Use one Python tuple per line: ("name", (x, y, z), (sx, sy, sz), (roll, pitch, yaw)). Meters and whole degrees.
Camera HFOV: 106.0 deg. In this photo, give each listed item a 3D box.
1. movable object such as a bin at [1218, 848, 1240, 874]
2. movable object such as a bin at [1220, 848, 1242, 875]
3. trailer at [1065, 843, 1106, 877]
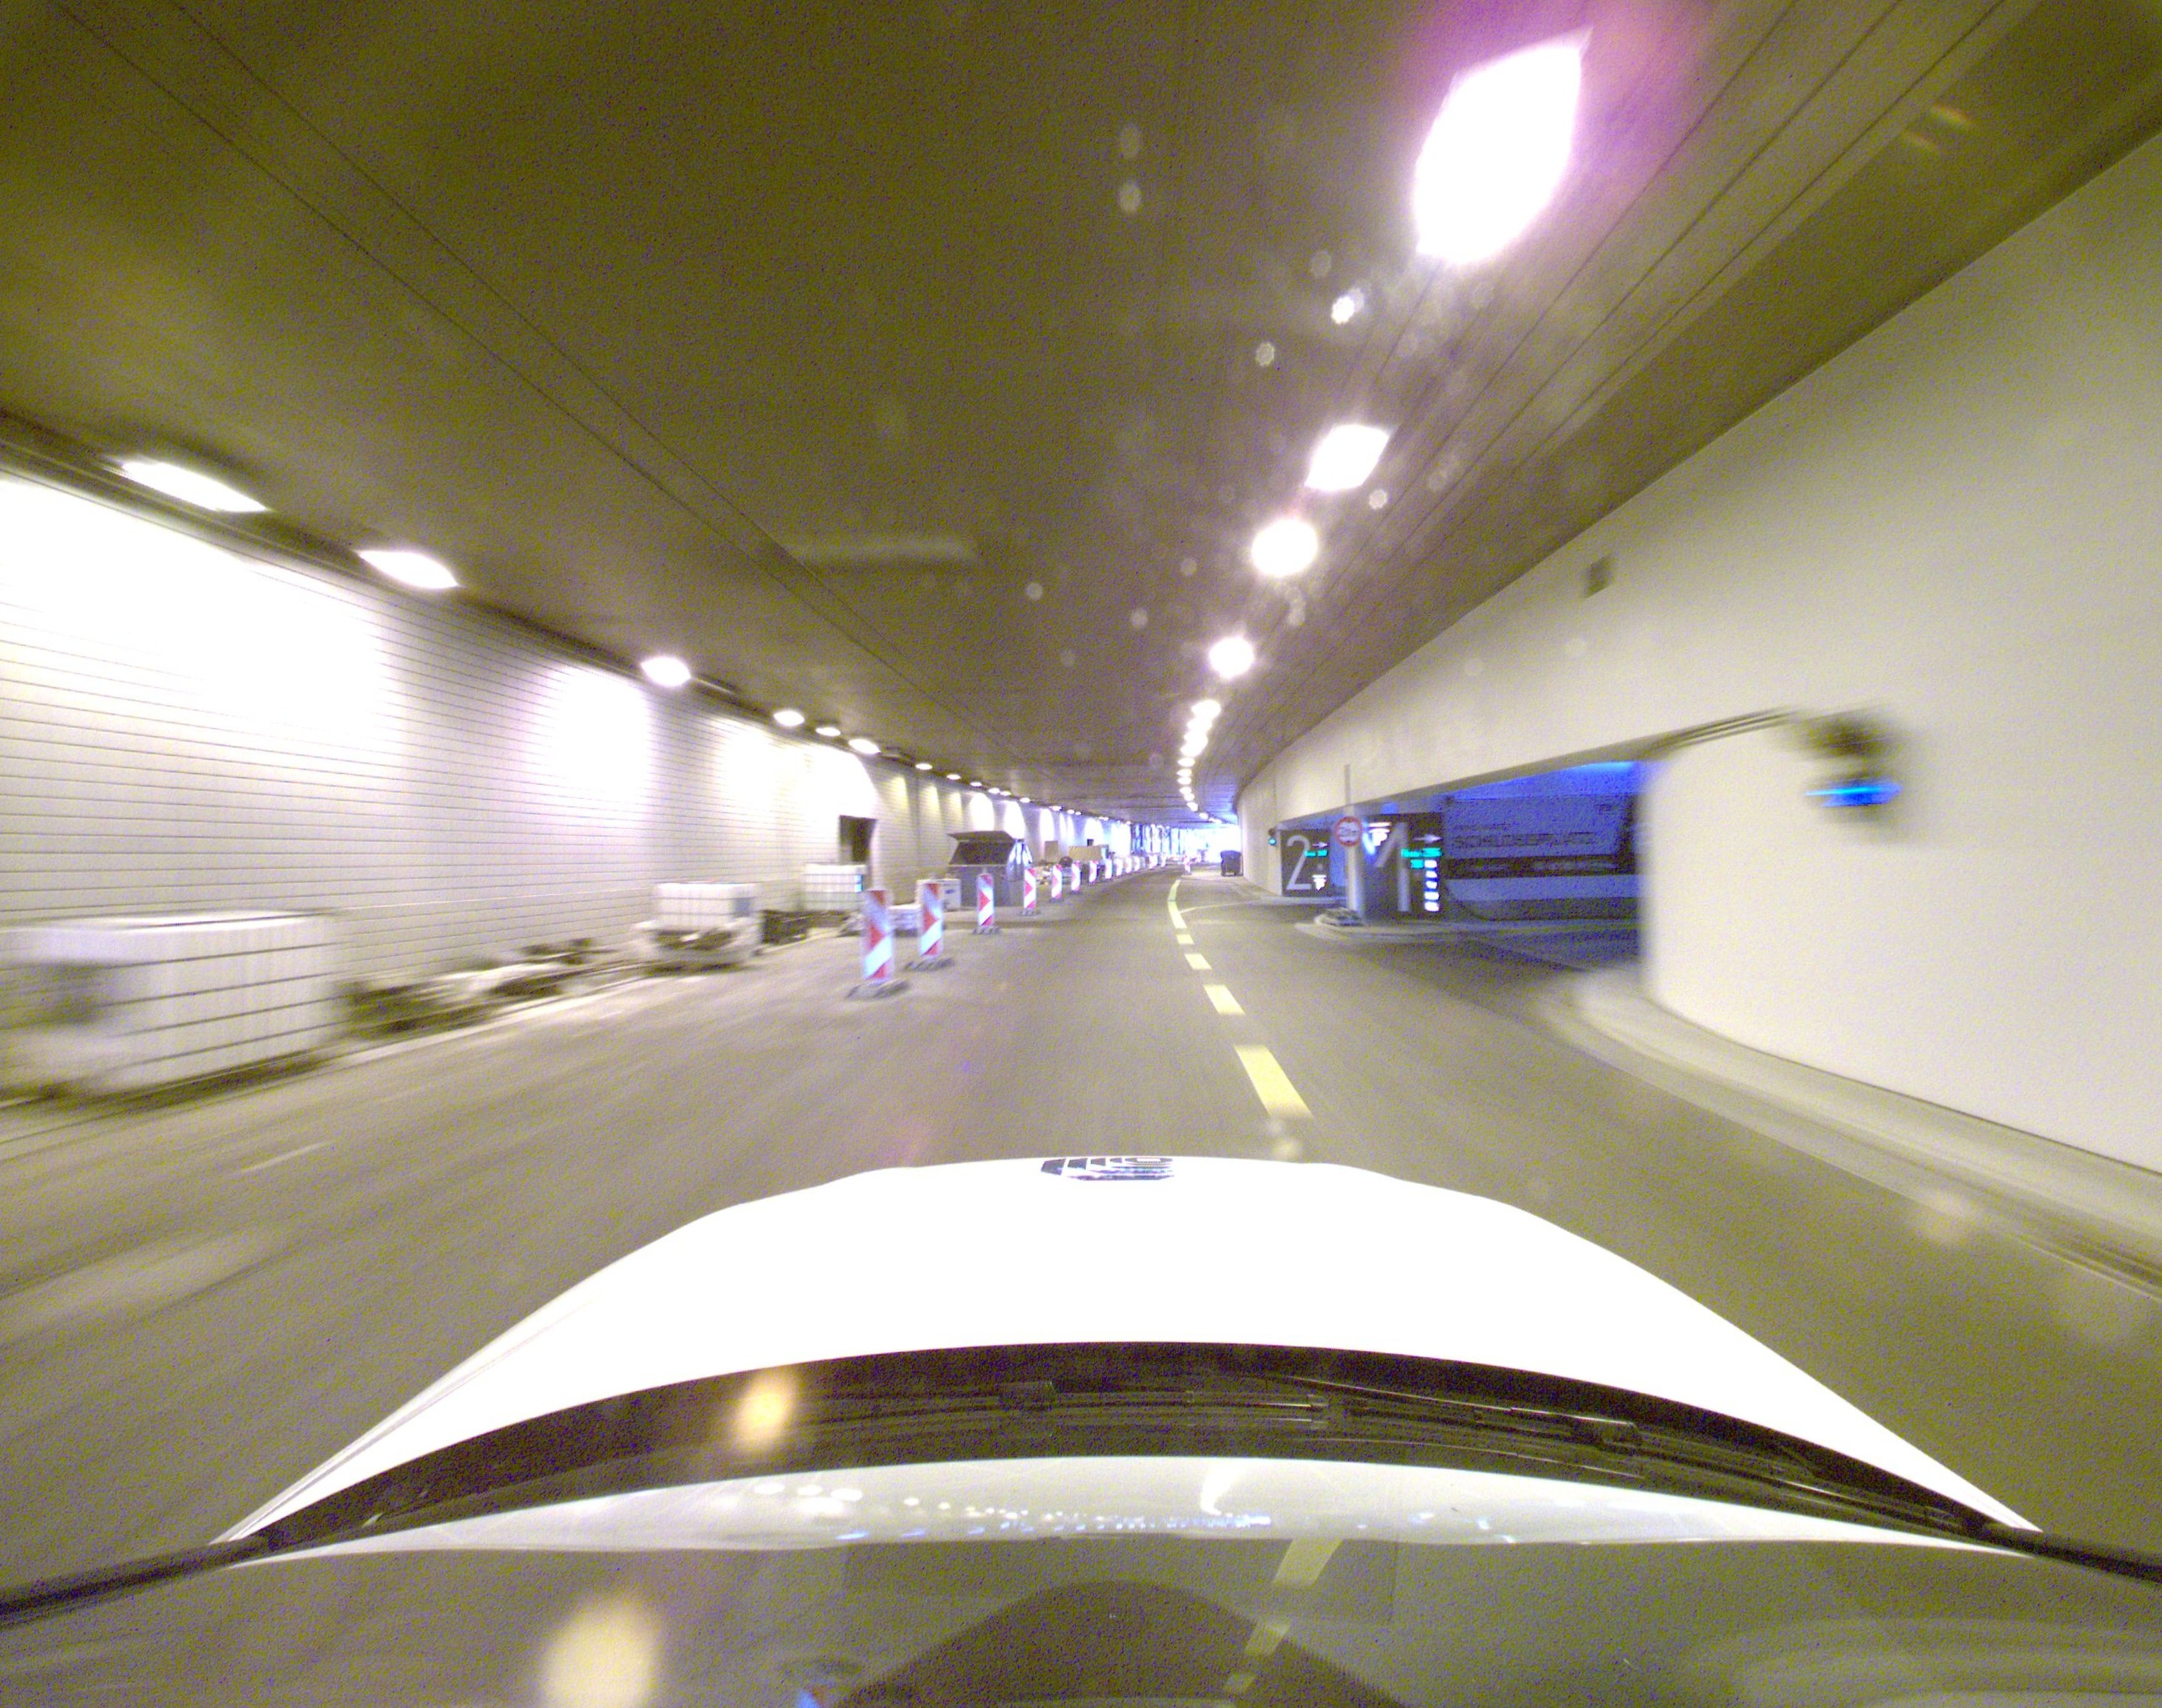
("movable object such as a bin", (8.285, 0.404, 45.588), (1.139, 1.445, 1.367), (-1, -1, 8))
("movable object such as a bin", (8.114, 0.417, 44.185), (1.091, 1.445, 1.325), (-1, -1, 8))
("trailer", (0.340, 0.369, 51.551), (2.196, 2.014, 3.473), (-1, 0, 7))
